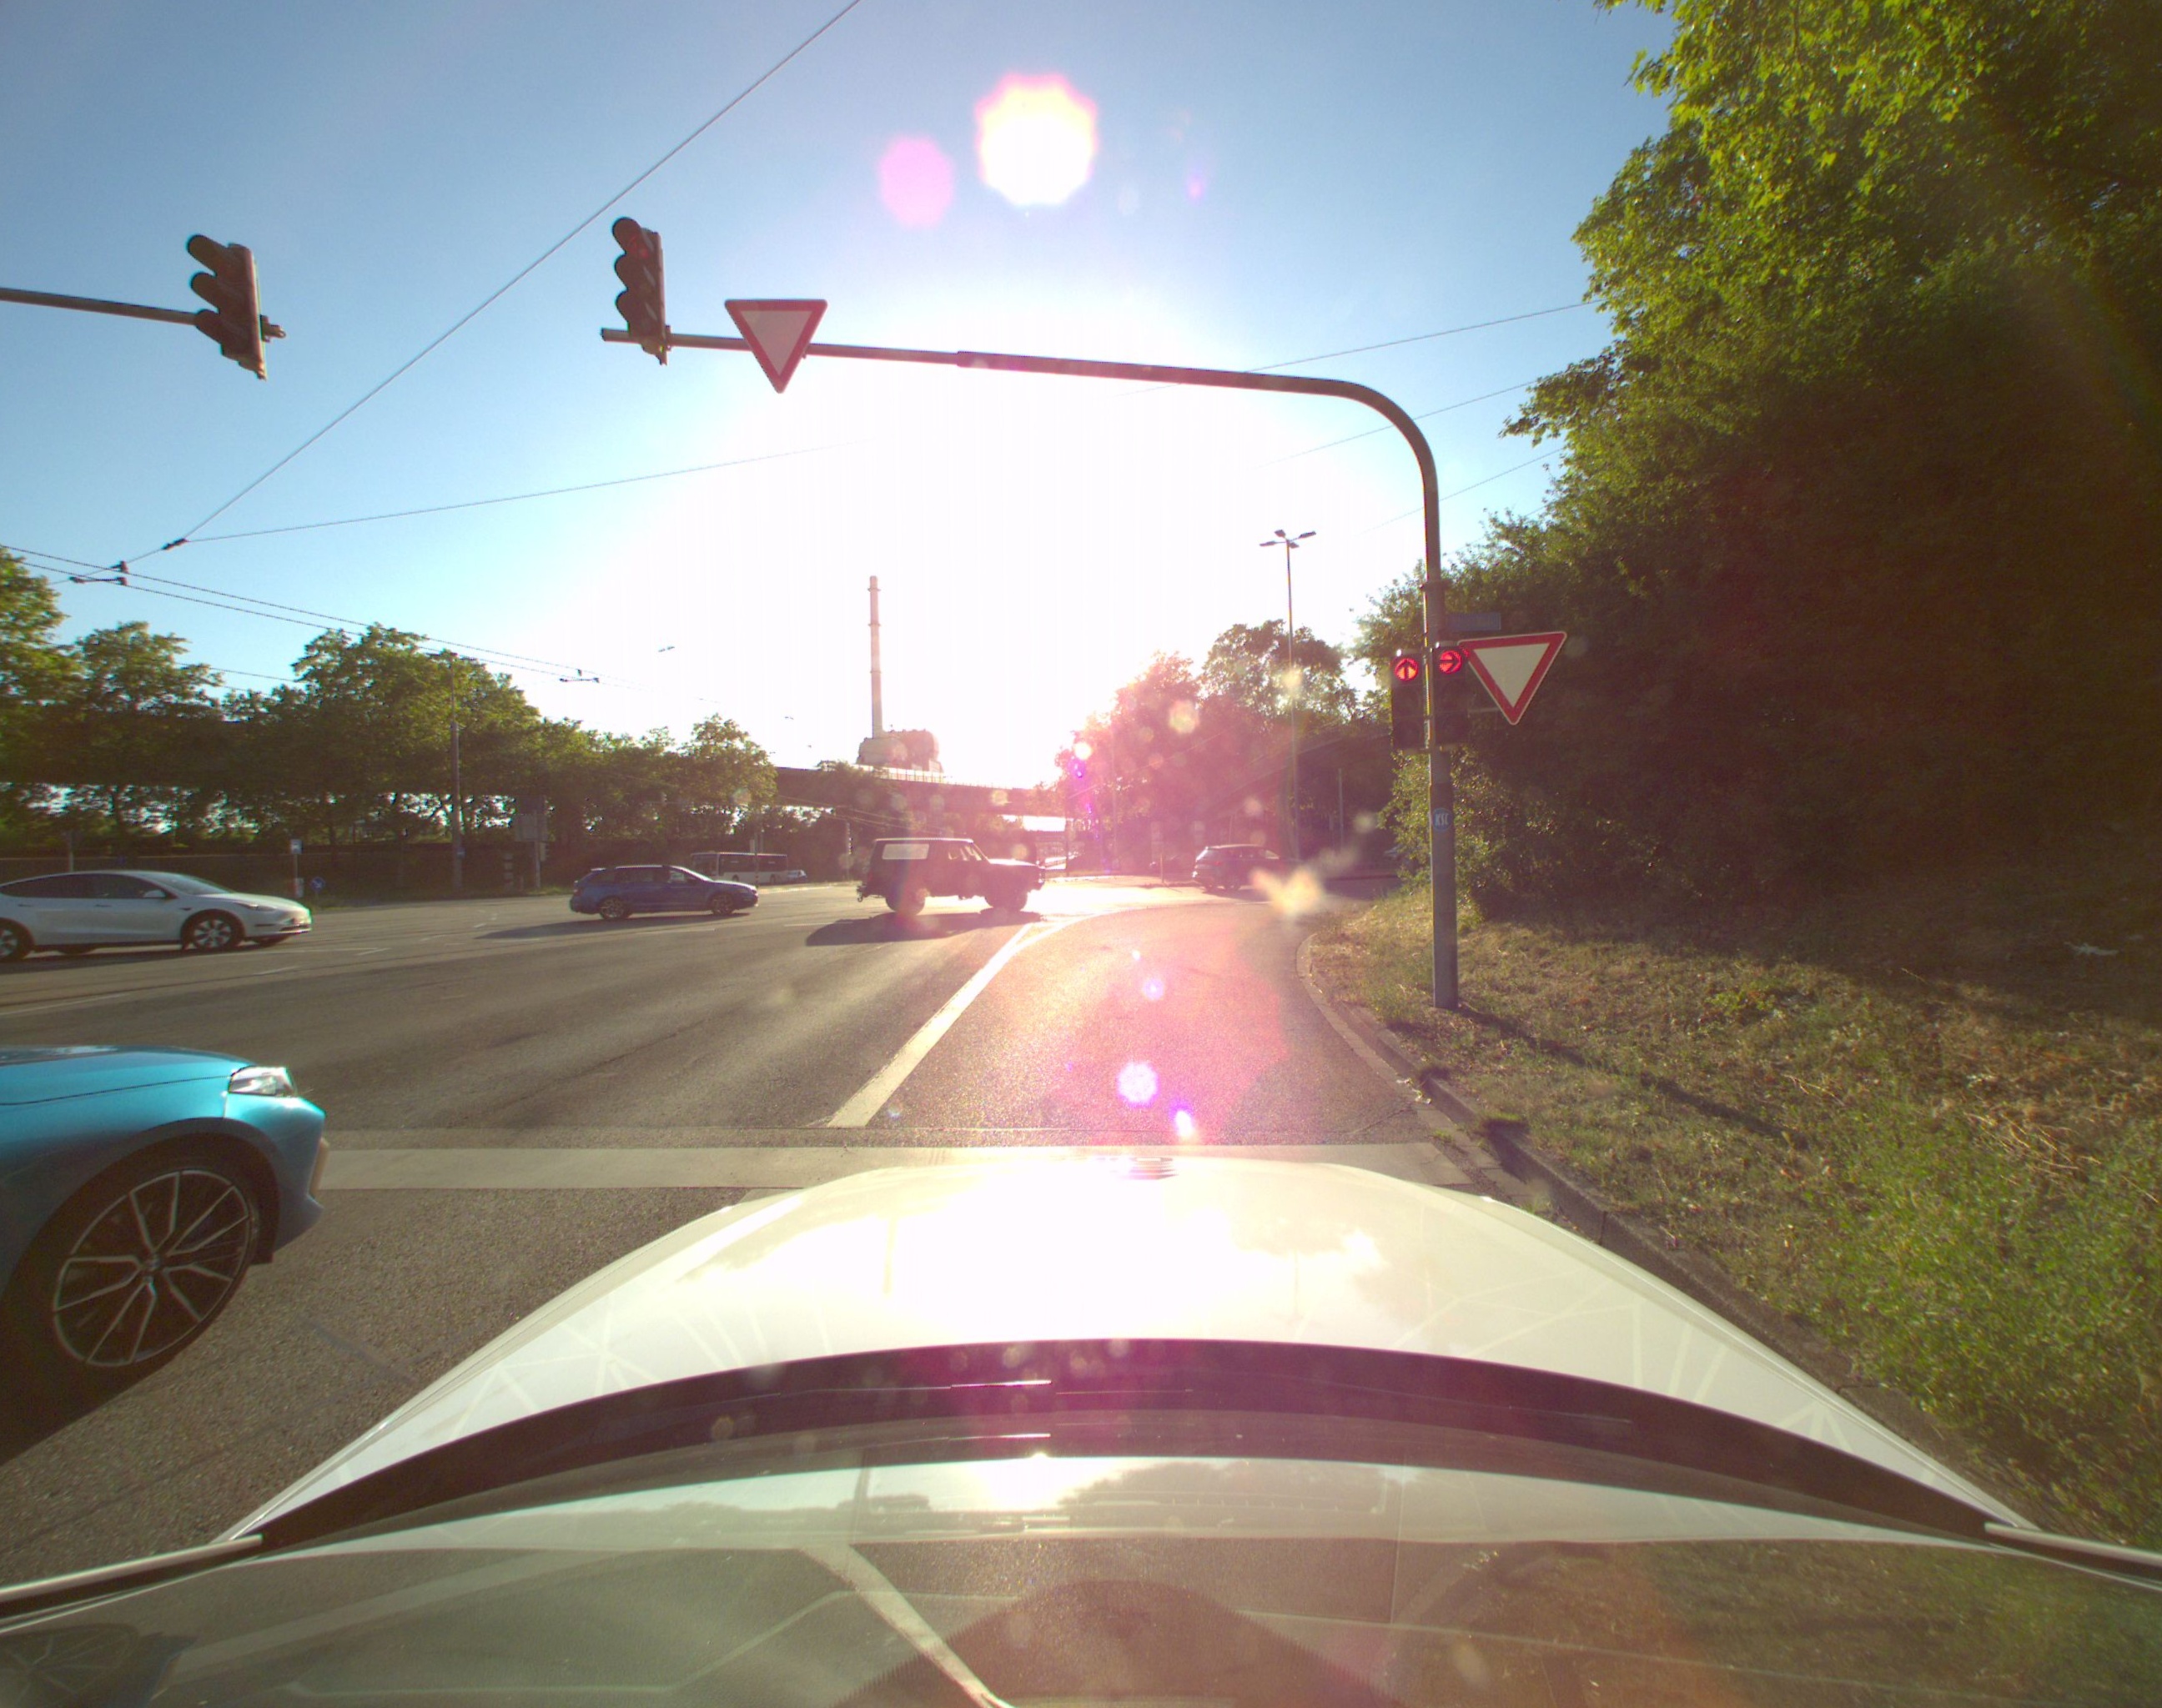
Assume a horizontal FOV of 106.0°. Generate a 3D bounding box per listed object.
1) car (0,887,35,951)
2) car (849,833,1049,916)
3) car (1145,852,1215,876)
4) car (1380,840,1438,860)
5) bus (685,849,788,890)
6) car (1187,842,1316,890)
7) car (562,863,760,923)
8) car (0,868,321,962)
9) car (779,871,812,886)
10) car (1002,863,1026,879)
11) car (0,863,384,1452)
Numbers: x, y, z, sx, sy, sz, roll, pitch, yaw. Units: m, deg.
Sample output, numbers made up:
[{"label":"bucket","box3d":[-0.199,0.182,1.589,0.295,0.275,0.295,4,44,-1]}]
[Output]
[{"label":"car","box3d":[-25.991,1.477,17.213,4.495,1.369,1.681,-1,0,-23]},{"label":"car","box3d":[-3.520,0.490,21.624,4.945,1.991,2.023,-1,0,-20]},{"label":"car","box3d":[6.963,0.665,57.086,4.585,1.575,1.685,-1,0,-16]},{"label":"car","box3d":[25.738,-0.292,63.912,4.005,1.512,1.684,-1,0,-17]},{"label":"bus","box3d":[-29.457,1.376,70.653,2.532,3.130,12.931,-2,-2,4]},{"label":"car","box3d":[6.082,0.417,29.099,4.250,1.575,1.682,-1,0,-20]},{"label":"car","box3d":[-11.436,1.019,22.540,4.625,1.459,1.682,-1,0,-20]},{"label":"car","box3d":[-18.217,1.117,15.784,4.768,1.575,1.682,-1,0,-20]},{"label":"car","box3d":[-28.568,2.452,81.603,1.600,1.419,4.012,-1,0,3]},{"label":"car","box3d":[-6.270,1.563,76.573,1.659,1.405,4.199,-1,0,2]},{"label":"car","box3d":[-3.570,0.798,1.066,1.709,1.466,4.205,-2,0,-1]}]
